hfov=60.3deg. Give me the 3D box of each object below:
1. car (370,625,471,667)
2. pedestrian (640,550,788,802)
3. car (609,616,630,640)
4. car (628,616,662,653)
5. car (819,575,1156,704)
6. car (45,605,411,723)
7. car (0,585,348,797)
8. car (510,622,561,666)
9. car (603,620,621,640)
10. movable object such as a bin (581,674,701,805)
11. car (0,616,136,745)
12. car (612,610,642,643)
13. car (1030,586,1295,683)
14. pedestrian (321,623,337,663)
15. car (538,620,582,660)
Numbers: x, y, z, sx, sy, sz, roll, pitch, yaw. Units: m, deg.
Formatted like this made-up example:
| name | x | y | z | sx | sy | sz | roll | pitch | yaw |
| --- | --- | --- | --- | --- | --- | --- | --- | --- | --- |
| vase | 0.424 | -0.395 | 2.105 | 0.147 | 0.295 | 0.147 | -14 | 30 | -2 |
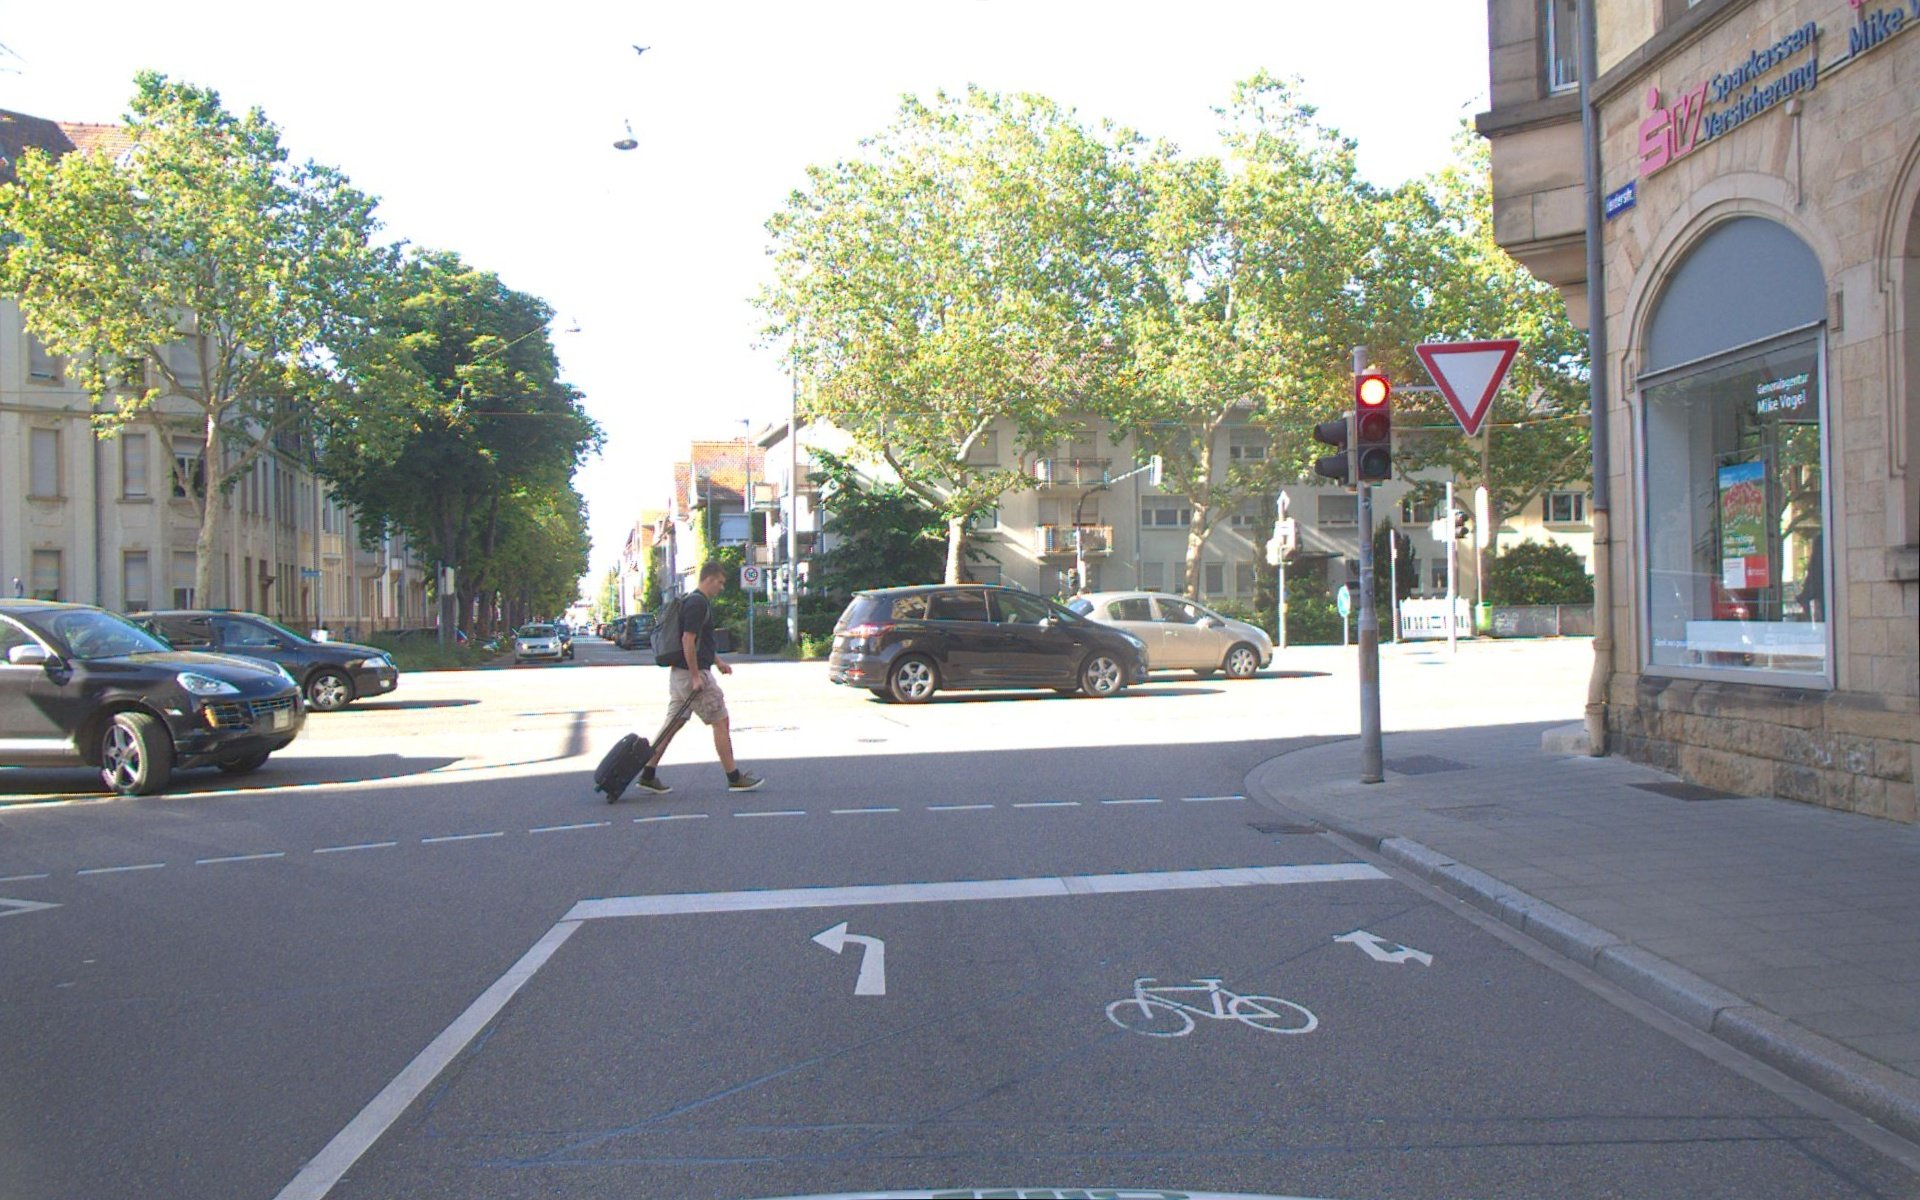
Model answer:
| name | x | y | z | sx | sy | sz | roll | pitch | yaw |
| --- | --- | --- | --- | --- | --- | --- | --- | --- | --- |
| car | -20.446 | 1.743 | 62.803 | 3.572 | 1.483 | 1.650 | -1 | 0 | -16 |
| pedestrian | -1.939 | 0.571 | 12.973 | 1.047 | 1.881 | 0.746 | -2 | 0 | -13 |
| car | -30.041 | 2.459 | 145.933 | 1.742 | 1.952 | 3.523 | -3 | 0 | -12 |
| car | -17.976 | 1.923 | 94.214 | 1.742 | 1.952 | 3.523 | -3 | 0 | -12 |
| car | 0.380 | 0.532 | 23.968 | 4.584 | 1.694 | 1.723 | -1 | 0 | -16 |
| car | -10.499 | 0.886 | 24.103 | 4.539 | 1.482 | 1.974 | -2 | 0 | -14 |
| car | -8.370 | 0.825 | 15.244 | 4.595 | 1.723 | 2.080 | -2 | 0 | 4 |
| car | -16.166 | 1.642 | 63.075 | 1.669 | 1.509 | 3.523 | -3 | 1 | -12 |
| car | -37.931 | 3.265 | 180.182 | 1.742 | 1.952 | 3.523 | -3 | 0 | -12 |
| movable object such as a bin | -2.413 | 1.037 | 12.480 | 0.847 | 0.907 | 0.508 | -2 | 0 | -13 |
| car | -12.631 | 0.995 | 19.950 | 4.543 | 1.482 | 1.722 | -1 | 0 | -17 |
| car | -21.010 | 1.660 | 104.287 | 1.742 | 1.952 | 3.523 | -3 | 0 | -12 |
| car | 3.418 | 0.544 | 28.032 | 4.133 | 1.482 | 1.671 | -1 | 1 | -16 |
| pedestrian | -23.367 | 1.580 | 61.234 | 0.480 | 1.467 | 0.702 | 1 | -1 | -16 |
| car | -16.832 | 1.662 | 69.725 | 1.669 | 1.509 | 3.523 | -3 | 1 | -12 |
